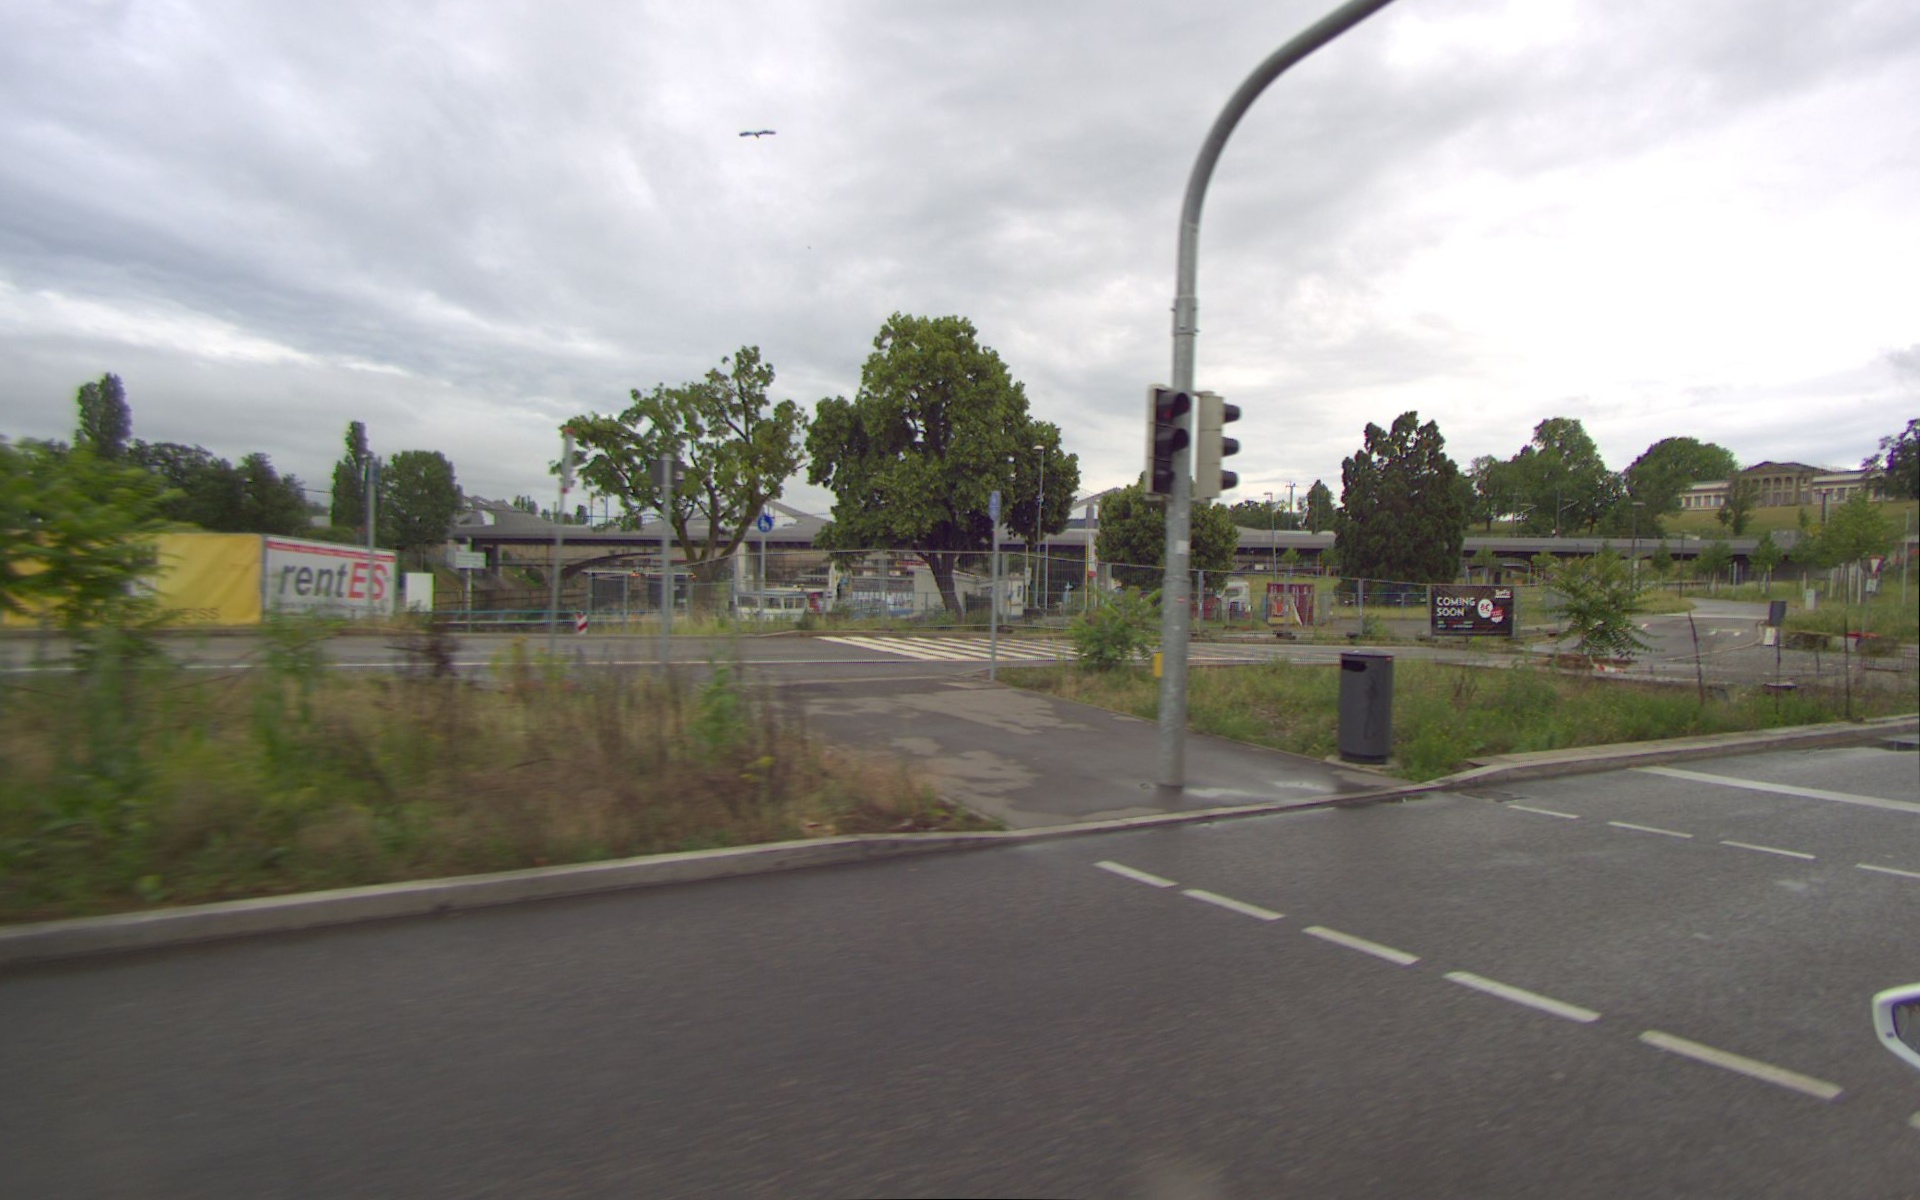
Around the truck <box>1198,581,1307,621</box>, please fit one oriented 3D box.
[{"bbox_3d":[22.637,0.009,77.728,7.807,2.840,2.423,2,1,23],"label":"truck"}]
